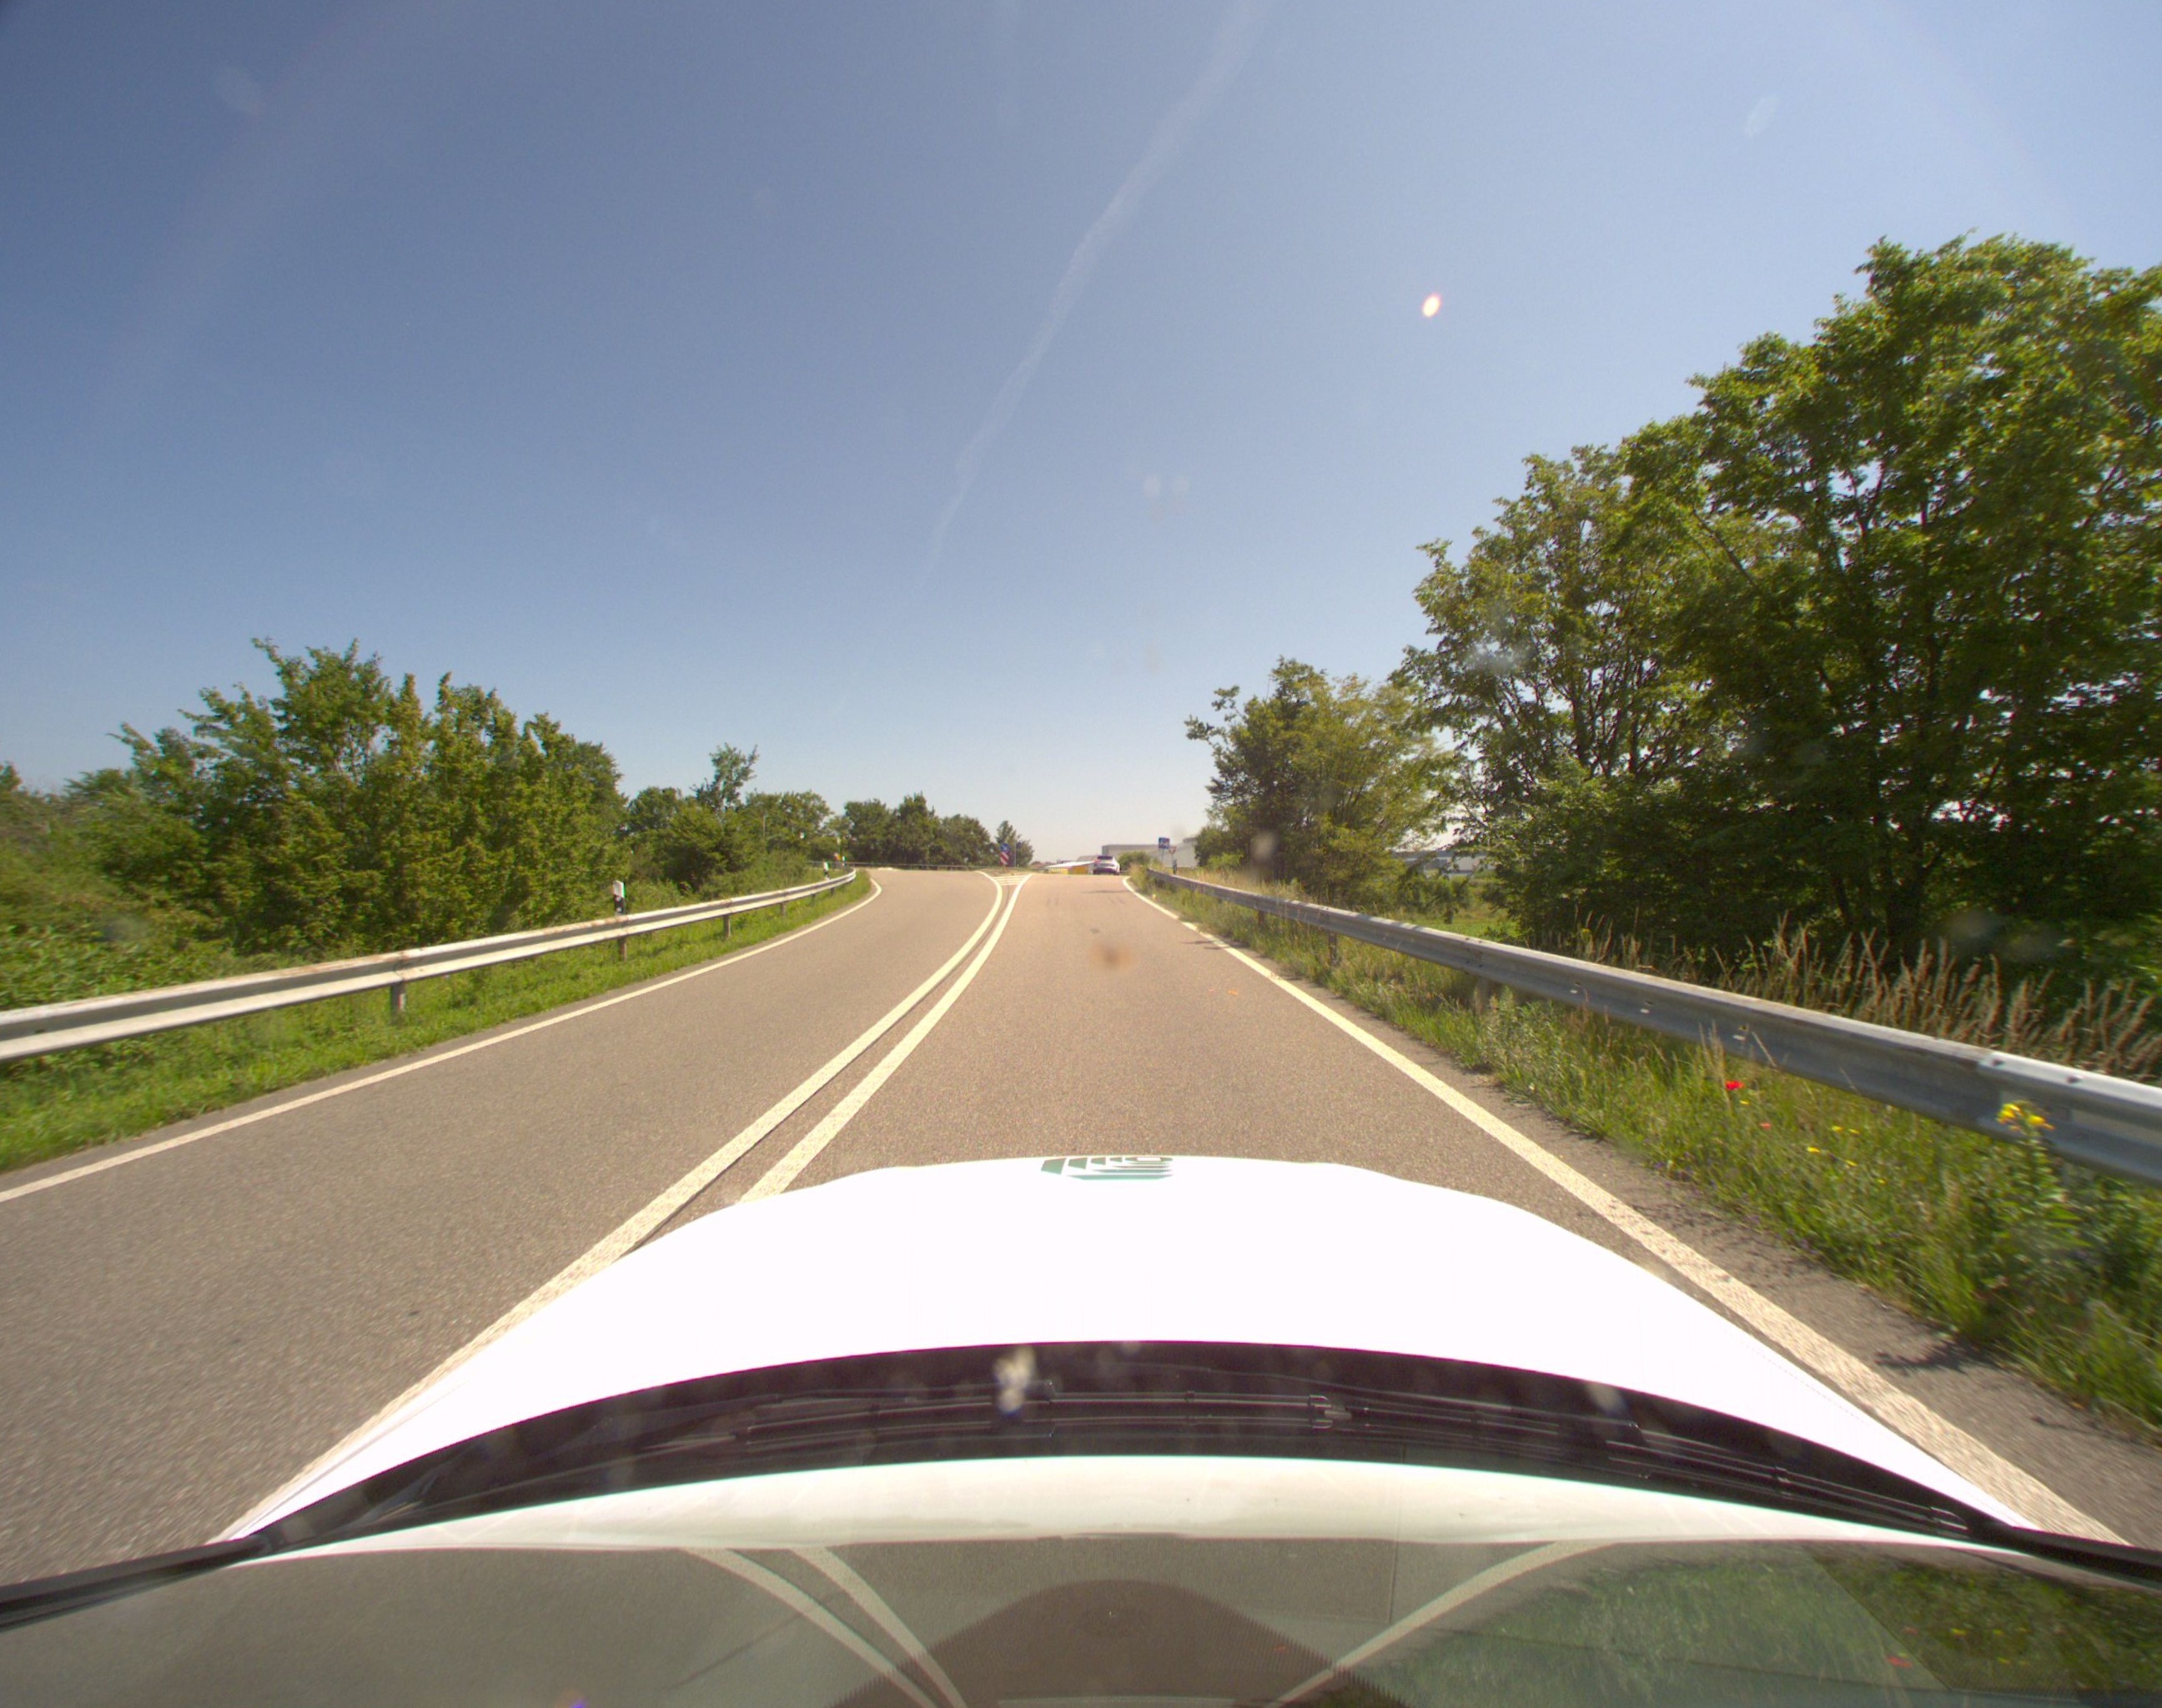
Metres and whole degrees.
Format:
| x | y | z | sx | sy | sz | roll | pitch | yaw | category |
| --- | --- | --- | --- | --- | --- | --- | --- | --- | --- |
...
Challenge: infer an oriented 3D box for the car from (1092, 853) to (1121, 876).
| x | y | z | sx | sy | sz | roll | pitch | yaw | category |
| --- | --- | --- | --- | --- | --- | --- | --- | --- | --- |
| 2.011 | 0.854 | 63.357 | 1.799 | 1.691 | 4.008 | -1 | -2 | 7 | car |
